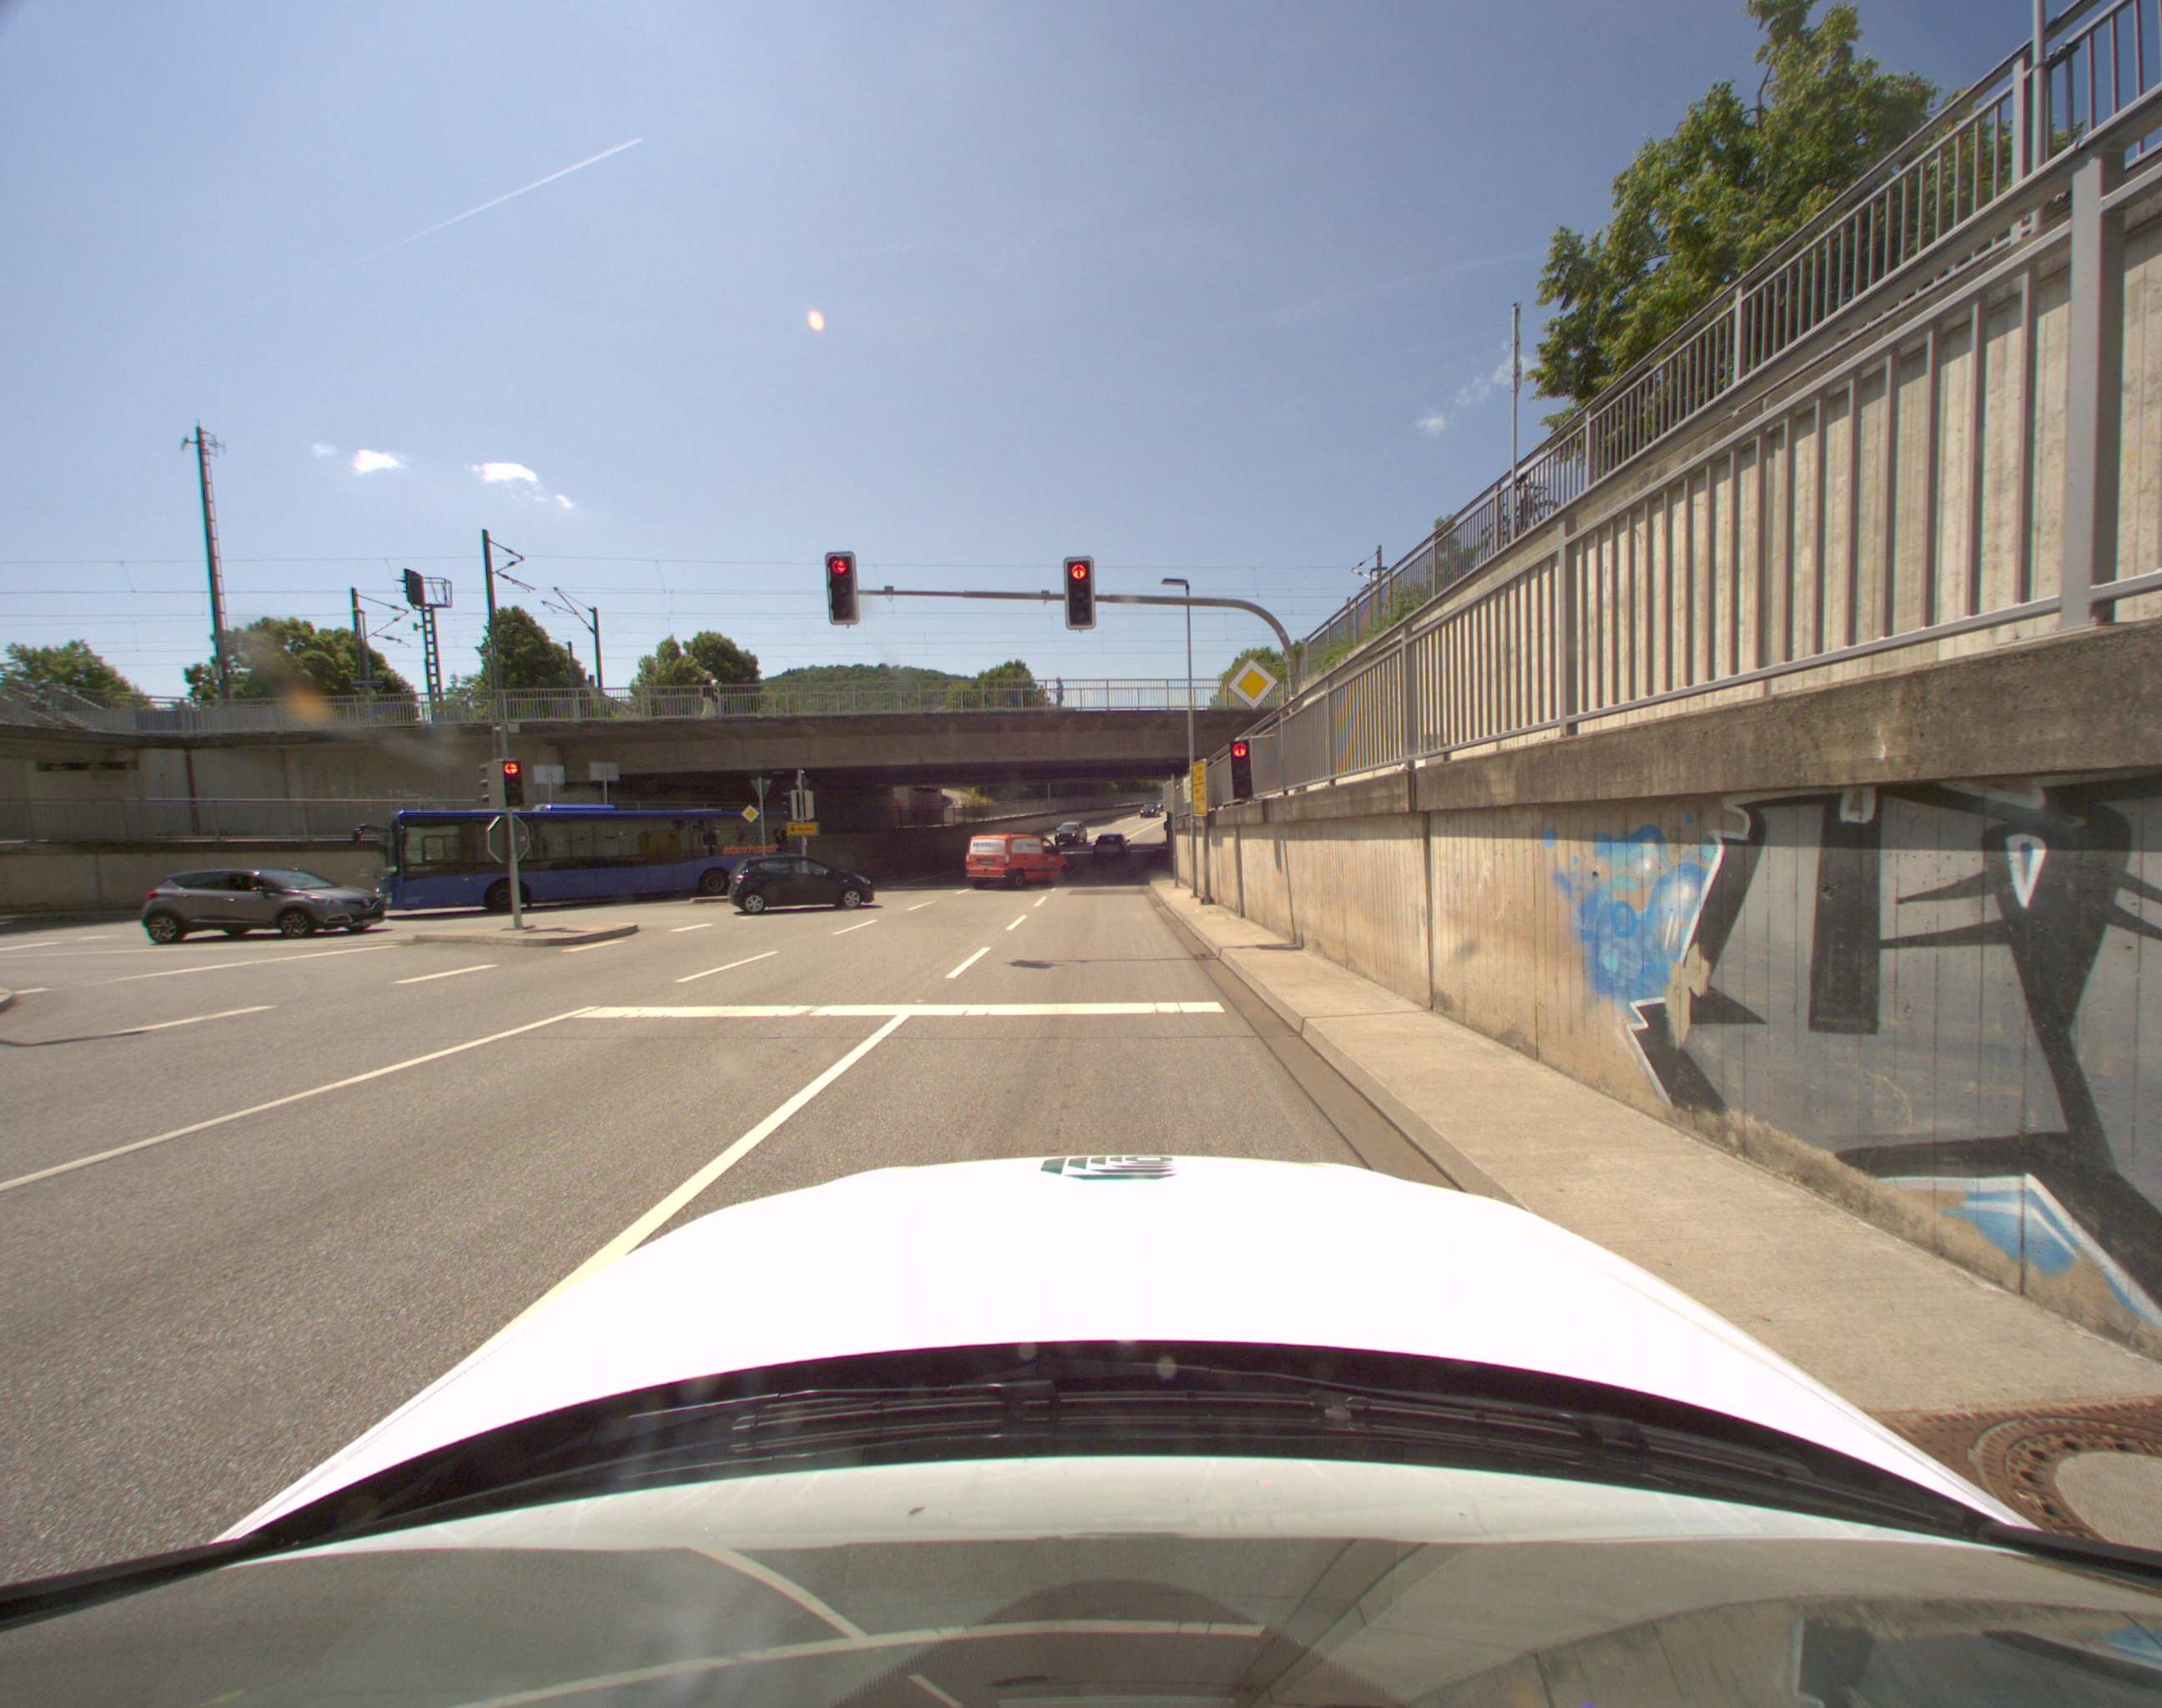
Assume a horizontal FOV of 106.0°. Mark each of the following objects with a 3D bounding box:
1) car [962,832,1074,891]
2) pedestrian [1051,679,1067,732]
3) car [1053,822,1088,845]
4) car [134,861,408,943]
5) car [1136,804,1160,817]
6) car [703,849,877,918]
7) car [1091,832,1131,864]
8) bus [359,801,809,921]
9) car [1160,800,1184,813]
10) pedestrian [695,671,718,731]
[{"bbox_3d":[-2.207,0.190,30.061,1.855,1.932,4.749,0,2,28],"label":"car"},{"bbox_3d":[-0.903,-6.103,33.547,0.538,2.081,0.534,-2,0,-5],"label":"pedestrian"},{"bbox_3d":[-0.749,-1.598,61.878,1.982,1.627,4.010,-1,2,8],"label":"car"},{"bbox_3d":[-18.275,1.030,18.576,3.981,1.588,1.997,-1,2,-6],"label":"car"},{"bbox_3d":[7.731,-4.984,93.747,1.767,1.436,4.022,0,2,21],"label":"car"},{"bbox_3d":[-7.587,0.693,21.293,4.011,1.508,1.982,-2,2,-29],"label":"car"},{"bbox_3d":[1.720,-0.379,45.210,1.794,1.617,4.009,0,2,7],"label":"car"},{"bbox_3d":[-15.419,-0.067,26.992,2.557,3.172,12.454,1,3,42],"label":"bus"},{"bbox_3d":[11.664,-6.099,104.441,1.976,1.588,4.022,0,2,22],"label":"car"},{"bbox_3d":[-13.618,-5.571,29.630,0.576,2.081,0.533,-2,0,-9],"label":"pedestrian"}]
